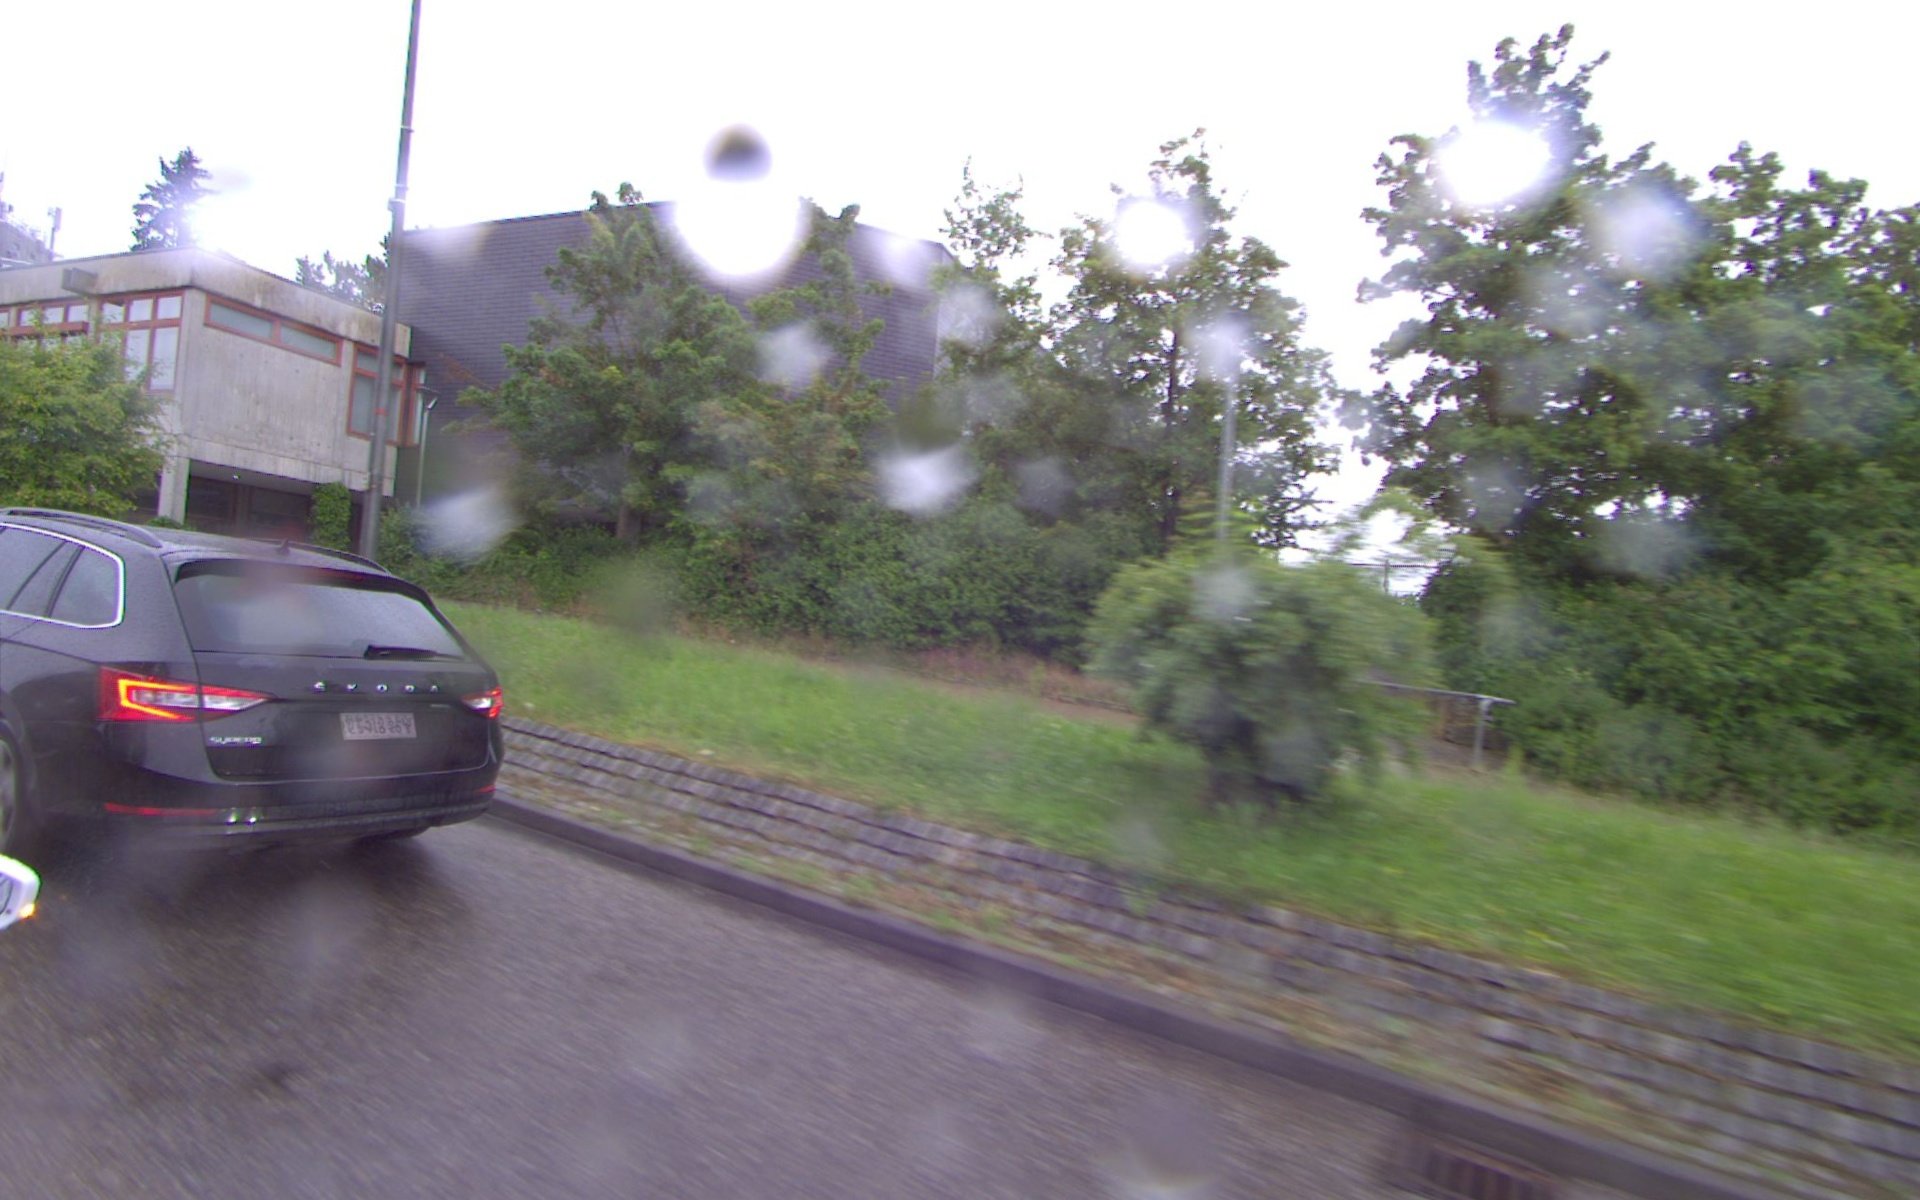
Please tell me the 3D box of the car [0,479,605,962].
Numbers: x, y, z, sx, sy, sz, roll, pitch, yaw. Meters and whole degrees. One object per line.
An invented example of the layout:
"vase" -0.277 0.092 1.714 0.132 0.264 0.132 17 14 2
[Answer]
"car" -4.273 0.319 5.182 4.530 1.523 1.960 6 -4 29
